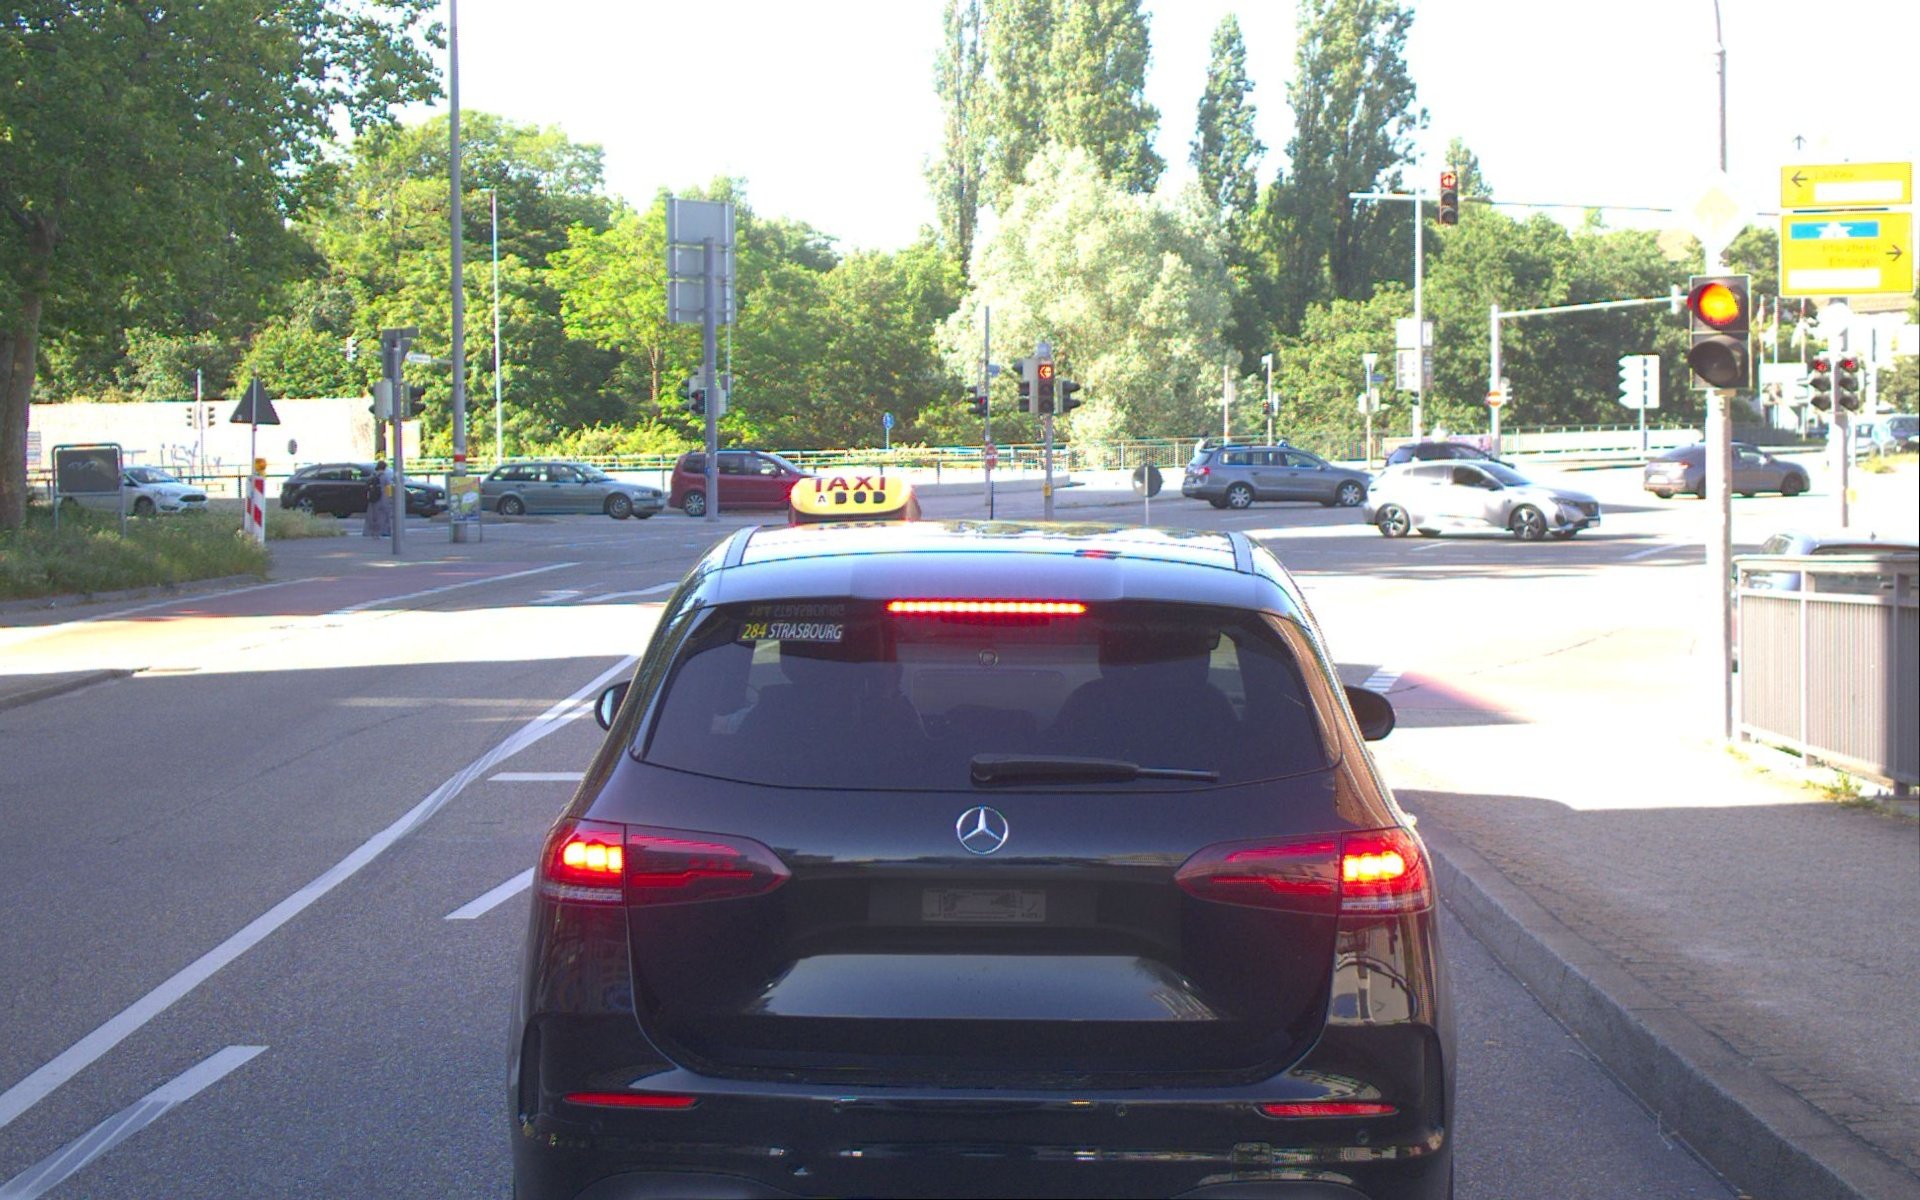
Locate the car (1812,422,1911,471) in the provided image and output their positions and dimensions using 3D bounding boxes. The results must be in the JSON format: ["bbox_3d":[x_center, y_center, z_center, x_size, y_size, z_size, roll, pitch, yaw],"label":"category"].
[{"bbox_3d":[30.084,-5.124,114.669,1.882,1.573,3.992,1,3,36],"label":"car"}]

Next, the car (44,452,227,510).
[{"bbox_3d":[-20.853,-3.012,86.953,4.308,1.360,1.997,1,4,31],"label":"car"}]

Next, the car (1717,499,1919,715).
[{"bbox_3d":[7.834,0.000,30.484,1.722,1.598,4.297,1,4,6],"label":"car"}]

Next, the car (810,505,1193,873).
[{"bbox_3d":[0.232,0.342,16.735,1.640,1.524,3.474,-1,2,2],"label":"car"}]

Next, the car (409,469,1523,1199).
[{"bbox_3d":[-0.015,0.538,7.849,1.878,1.608,4.000,1,2,-1],"label":"car"}]

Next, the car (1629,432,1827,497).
[{"bbox_3d":[18.810,-3.337,84.315,4.279,1.436,2.001,-2,3,-12],"label":"car"}]

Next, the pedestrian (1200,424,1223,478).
[{"bbox_3d":[7.553,-4.472,103.186,0.451,1.580,0.500,1,3,40],"label":"pedestrian"}]

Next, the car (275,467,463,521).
[{"bbox_3d":[-15.123,-2.702,87.951,4.587,1.290,1.883,1,4,31],"label":"car"}]

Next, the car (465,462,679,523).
[{"bbox_3d":[-9.165,-2.540,81.359,4.582,1.290,1.999,-1,4,13],"label":"car"}]

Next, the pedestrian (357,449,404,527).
[{"bbox_3d":[-11.465,-2.211,67.998,0.705,1.520,0.743,1,2,10],"label":"pedestrian"}]

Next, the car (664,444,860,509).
[{"bbox_3d":[-4.890,-3.073,85.215,4.538,1.450,2.000,-1,3,7],"label":"car"}]

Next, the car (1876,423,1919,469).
[{"bbox_3d":[33.575,-5.390,119.822,1.882,1.573,3.992,1,3,36],"label":"car"}]

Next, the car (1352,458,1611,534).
[{"bbox_3d":[9.540,-1.911,62.960,4.226,1.290,1.996,1,4,35],"label":"car"}]

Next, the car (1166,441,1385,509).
[{"bbox_3d":[7.485,-2.990,81.810,4.806,1.436,2.001,-2,3,-10],"label":"car"}]
